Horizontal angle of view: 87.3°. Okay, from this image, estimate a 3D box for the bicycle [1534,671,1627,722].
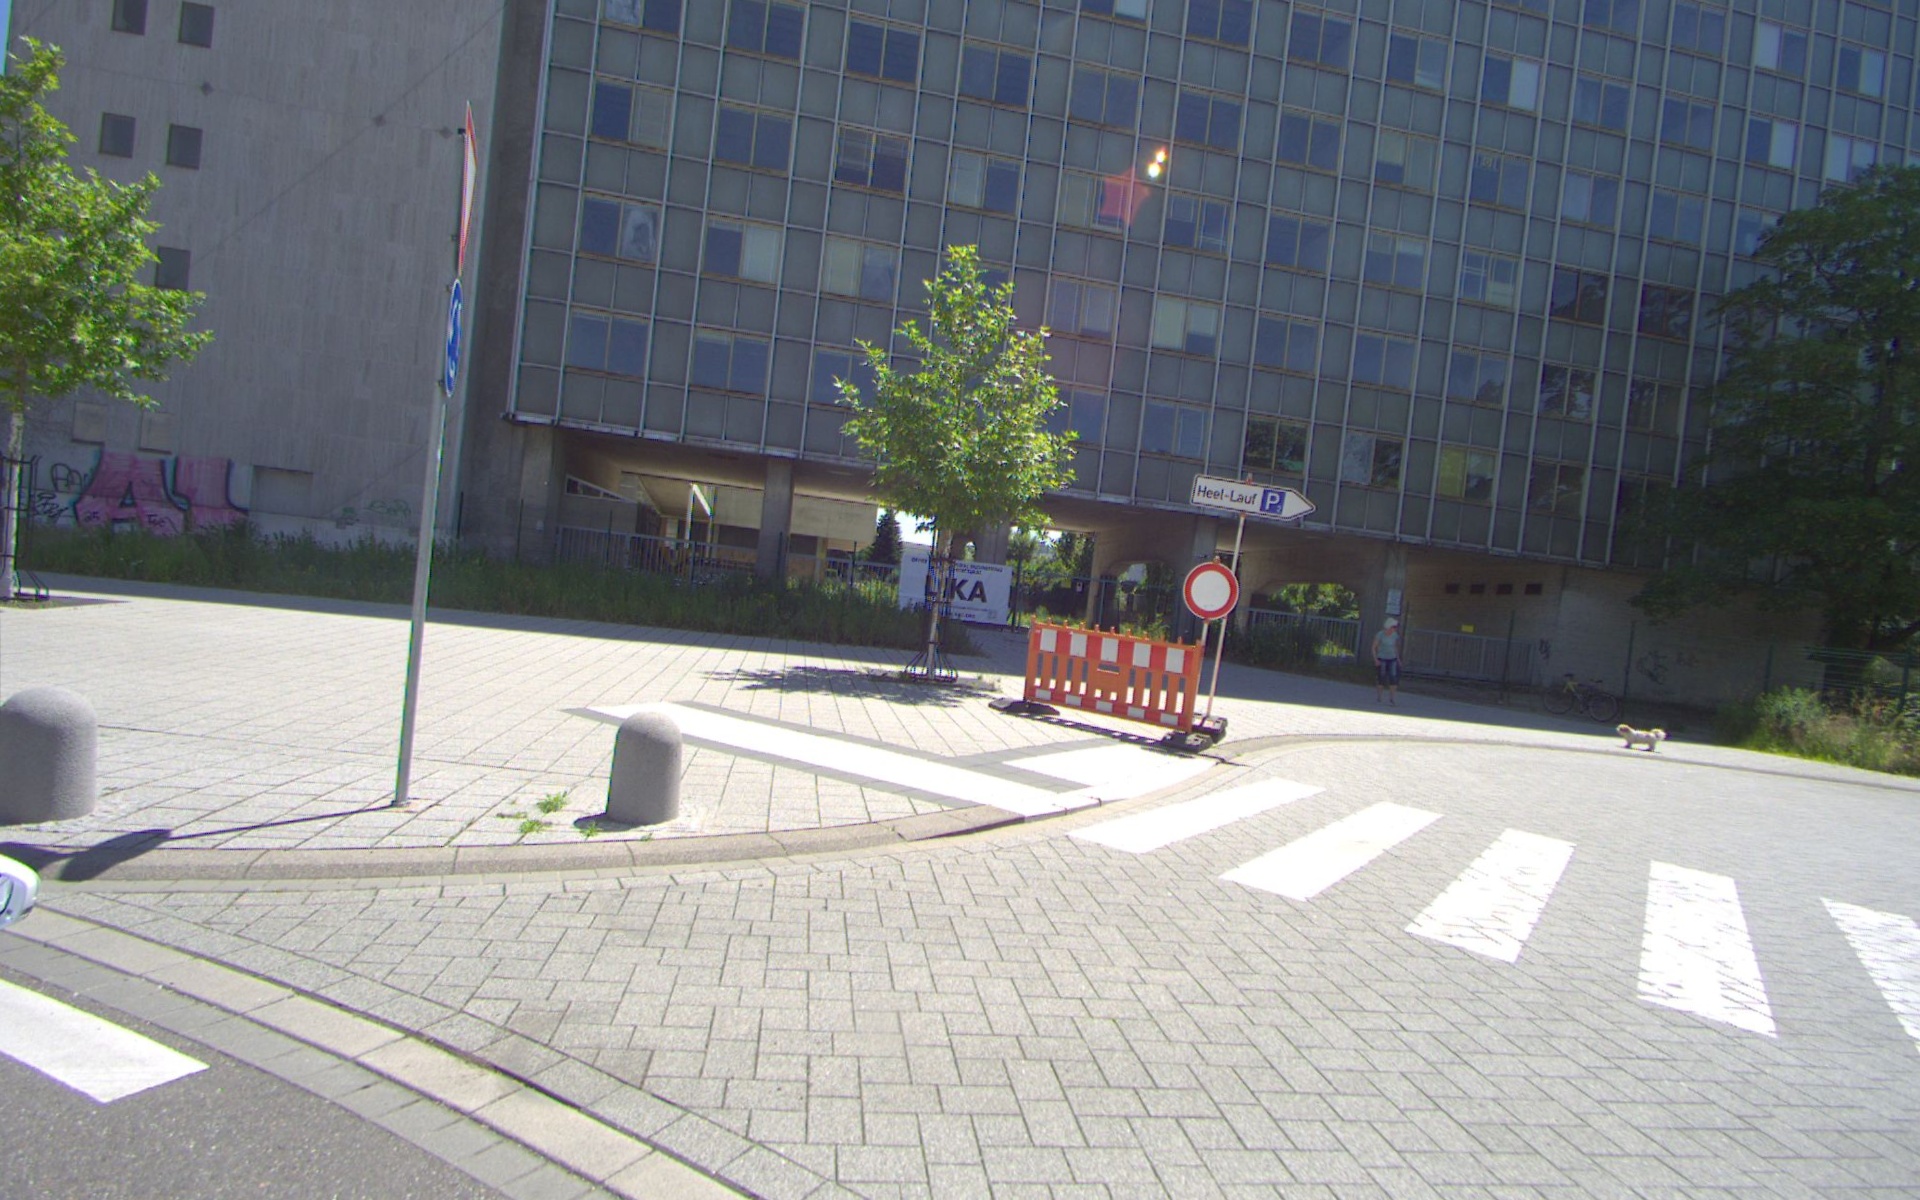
[{"bbox_3d":[14.155,2.196,23.004,0.443,0.919,1.740,5,1,-29],"label":"bicycle"}]

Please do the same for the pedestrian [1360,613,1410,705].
[{"bbox_3d":[8.415,1.165,19.949,0.556,1.732,0.486,6,4,-3],"label":"pedestrian"}]
